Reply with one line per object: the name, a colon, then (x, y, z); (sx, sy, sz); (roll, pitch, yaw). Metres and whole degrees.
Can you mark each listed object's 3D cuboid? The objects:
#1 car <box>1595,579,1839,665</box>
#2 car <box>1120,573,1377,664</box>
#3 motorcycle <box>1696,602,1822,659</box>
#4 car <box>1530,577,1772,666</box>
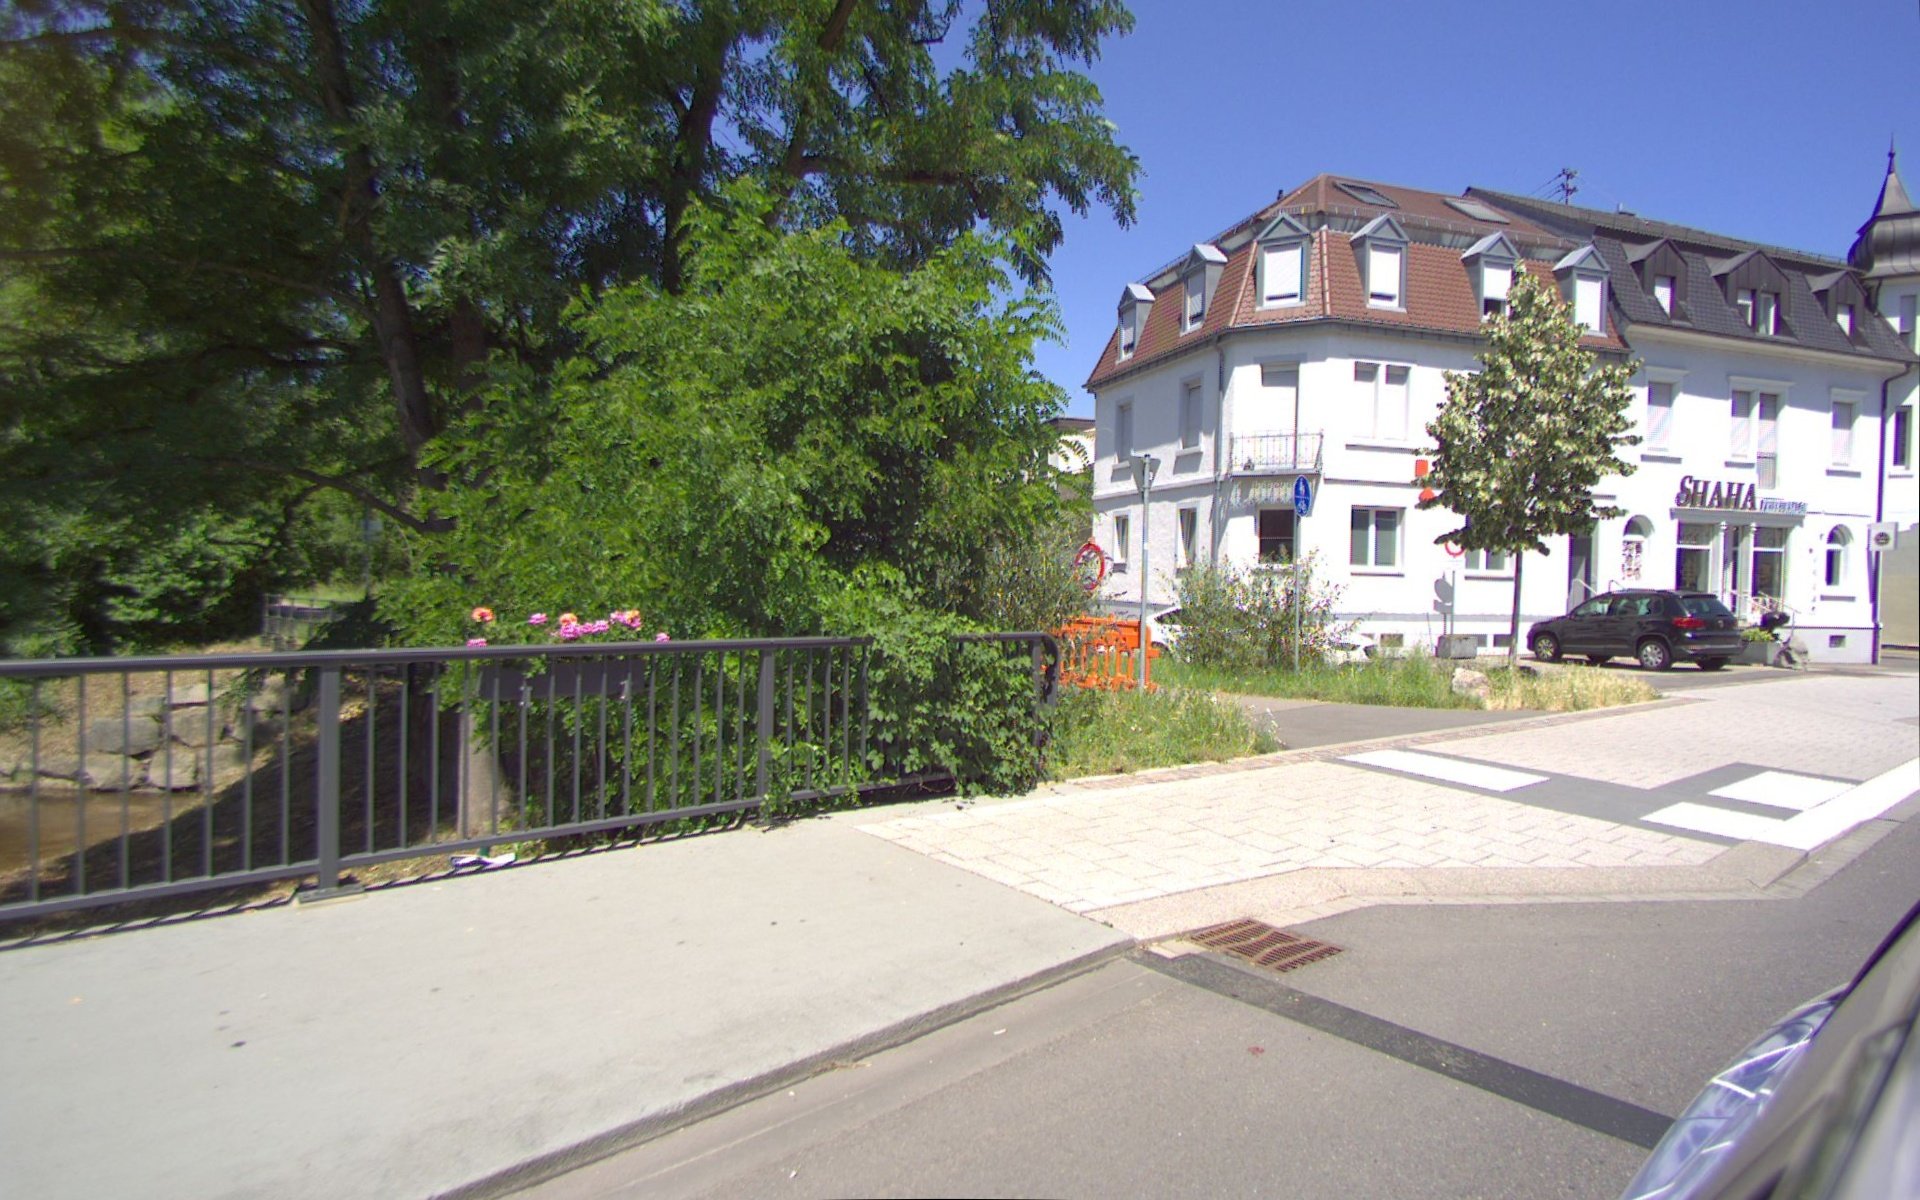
car: (16.814, 0.441, 22.752); (1.817, 1.737, 4.097); (1, 0, -17)
car: (5.292, 0.331, 18.768); (4.179, 1.368, 1.834); (1, -7, 38)
motorcycle: (19.733, 0.727, 25.083); (0.838, 1.291, 2.390); (2, 0, -16)
car: (14.841, 0.415, 22.021); (1.817, 1.737, 4.097); (1, 0, -17)
